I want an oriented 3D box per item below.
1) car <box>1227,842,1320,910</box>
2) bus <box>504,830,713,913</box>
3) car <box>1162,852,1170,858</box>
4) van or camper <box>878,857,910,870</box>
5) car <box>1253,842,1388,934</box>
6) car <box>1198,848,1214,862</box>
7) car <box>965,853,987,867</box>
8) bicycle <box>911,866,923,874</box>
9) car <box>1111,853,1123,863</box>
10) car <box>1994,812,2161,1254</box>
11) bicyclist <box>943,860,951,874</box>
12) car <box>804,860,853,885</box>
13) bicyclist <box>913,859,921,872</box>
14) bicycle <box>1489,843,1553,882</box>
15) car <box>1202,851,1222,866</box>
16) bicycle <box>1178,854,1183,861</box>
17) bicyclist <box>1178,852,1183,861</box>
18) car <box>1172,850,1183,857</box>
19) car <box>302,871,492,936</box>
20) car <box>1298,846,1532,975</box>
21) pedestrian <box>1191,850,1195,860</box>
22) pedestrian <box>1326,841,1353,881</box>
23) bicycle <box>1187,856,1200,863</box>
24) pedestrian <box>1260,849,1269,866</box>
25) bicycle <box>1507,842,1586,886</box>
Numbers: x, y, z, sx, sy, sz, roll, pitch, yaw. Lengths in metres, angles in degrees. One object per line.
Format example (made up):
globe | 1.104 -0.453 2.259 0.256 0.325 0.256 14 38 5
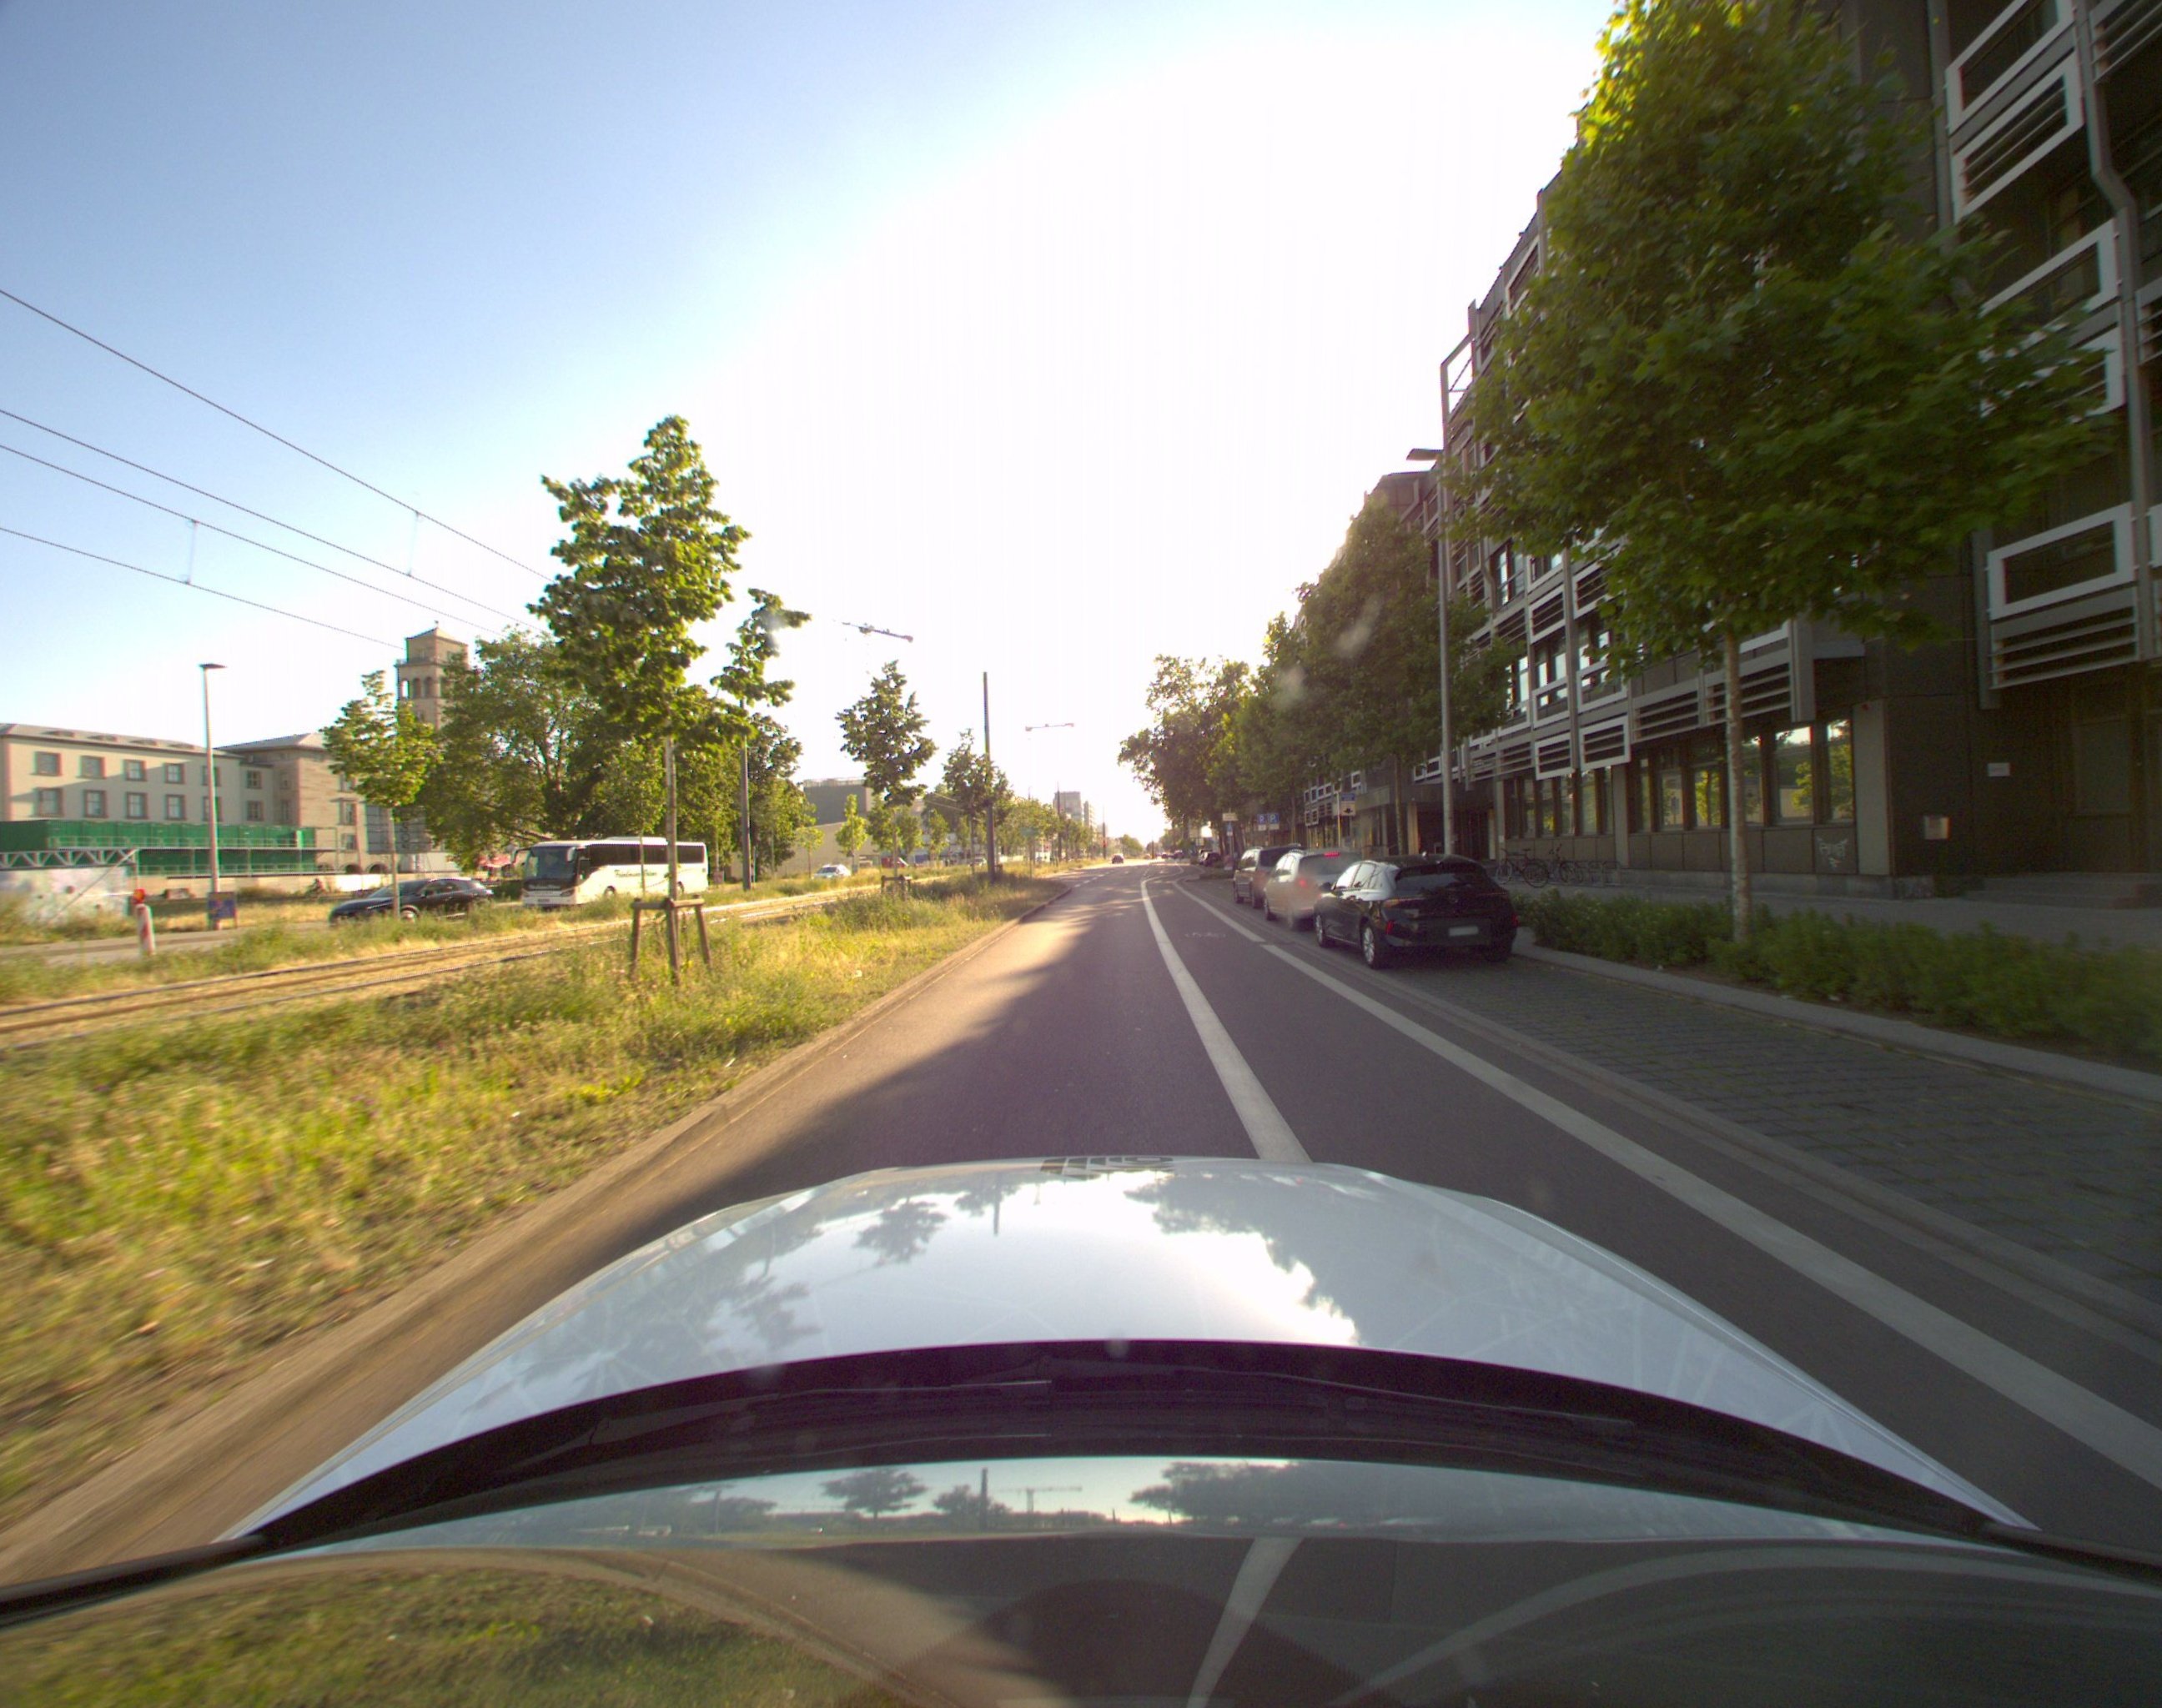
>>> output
car | 5.464 0.575 23.696 1.721 1.688 4.517 -4 0 2
bus | -24.012 0.784 42.776 2.787 3.595 12.710 -2 0 4
car | 22.514 0.359 216.058 1.751 1.485 3.854 -2 0 4
van or camper | -36.807 1.877 160.718 5.630 2.414 2.159 -2 0 7
car | 4.982 0.639 17.509 1.721 1.621 4.218 -4 0 2
car | 14.798 0.080 96.257 1.671 1.514 5.073 -4 0 10
car | -13.961 0.801 108.532 1.862 1.765 4.819 -2 0 4
bicycle | -18.380 1.776 91.257 0.684 0.804 2.147 -2 0 4
car | 5.594 0.614 125.528 1.769 1.428 4.004 -1 0 4
car | 4.353 0.572 1.084 1.656 1.490 4.208 -4 0 4
bicyclist | -17.148 1.657 104.455 0.684 1.708 0.955 -2 0 5
car | -18.058 1.285 58.454 1.985 1.643 4.171 -2 0 3
bicyclist | -18.391 1.290 91.258 0.685 1.346 0.872 -2 0 3
bicycle | 13.182 0.264 24.424 1.619 1.082 0.393 -3 -1 5
car | 13.553 0.472 84.315 1.698 1.418 4.284 -4 0 6
bicycle | 16.701 0.581 136.505 0.795 1.204 2.268 -2 0 7
bicyclist | 16.637 0.409 136.443 0.797 1.602 0.786 -2 0 3
car | 19.514 -0.113 164.447 1.931 1.428 3.930 -2 0 4
car | -20.490 1.406 24.678 1.986 1.651 4.273 -2 0 2
car | 4.618 0.678 12.039 1.787 1.449 4.380 -4 0 3
pedestrian | 19.118 0.164 139.173 0.631 1.608 0.571 -4 0 6
pedestrian | 11.153 0.304 35.217 0.786 1.648 1.138 -3 -1 4
bicycle | 15.262 0.794 110.735 1.680 0.867 0.574 -4 -1 13
pedestrian | 20.845 0.374 92.568 0.827 1.856 0.848 -2 0 5
bicycle | 12.637 0.267 22.102 1.895 1.093 0.392 -3 -1 -3
